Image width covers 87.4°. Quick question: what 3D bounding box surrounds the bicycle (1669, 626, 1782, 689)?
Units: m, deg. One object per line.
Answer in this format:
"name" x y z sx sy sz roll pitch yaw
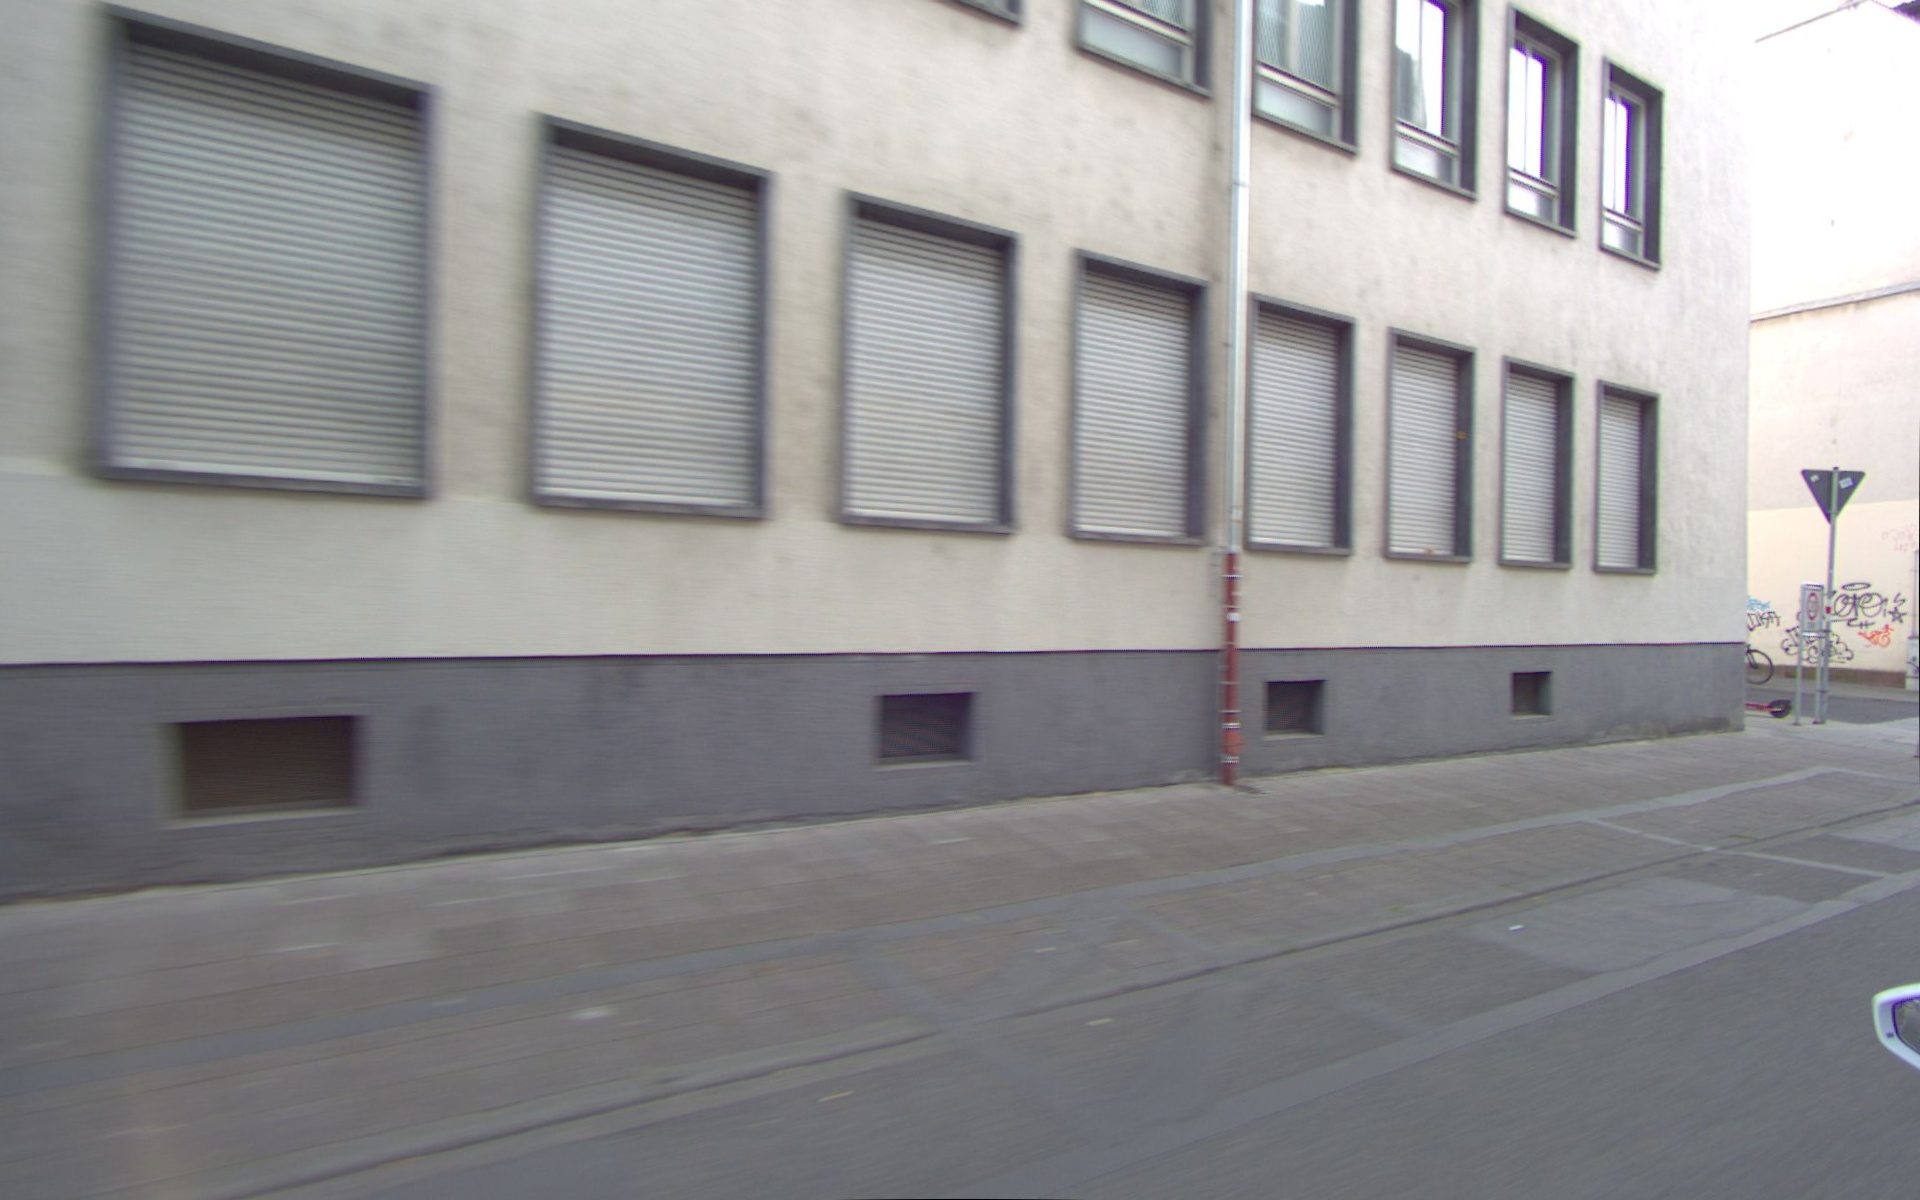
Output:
"bicycle" 16.347 1.199 21.502 0.617 1.233 1.926 1 0 -16

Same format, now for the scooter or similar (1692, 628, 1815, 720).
"scooter or similar" 11.863 1.087 15.059 1.343 1.217 0.531 4 2 36
